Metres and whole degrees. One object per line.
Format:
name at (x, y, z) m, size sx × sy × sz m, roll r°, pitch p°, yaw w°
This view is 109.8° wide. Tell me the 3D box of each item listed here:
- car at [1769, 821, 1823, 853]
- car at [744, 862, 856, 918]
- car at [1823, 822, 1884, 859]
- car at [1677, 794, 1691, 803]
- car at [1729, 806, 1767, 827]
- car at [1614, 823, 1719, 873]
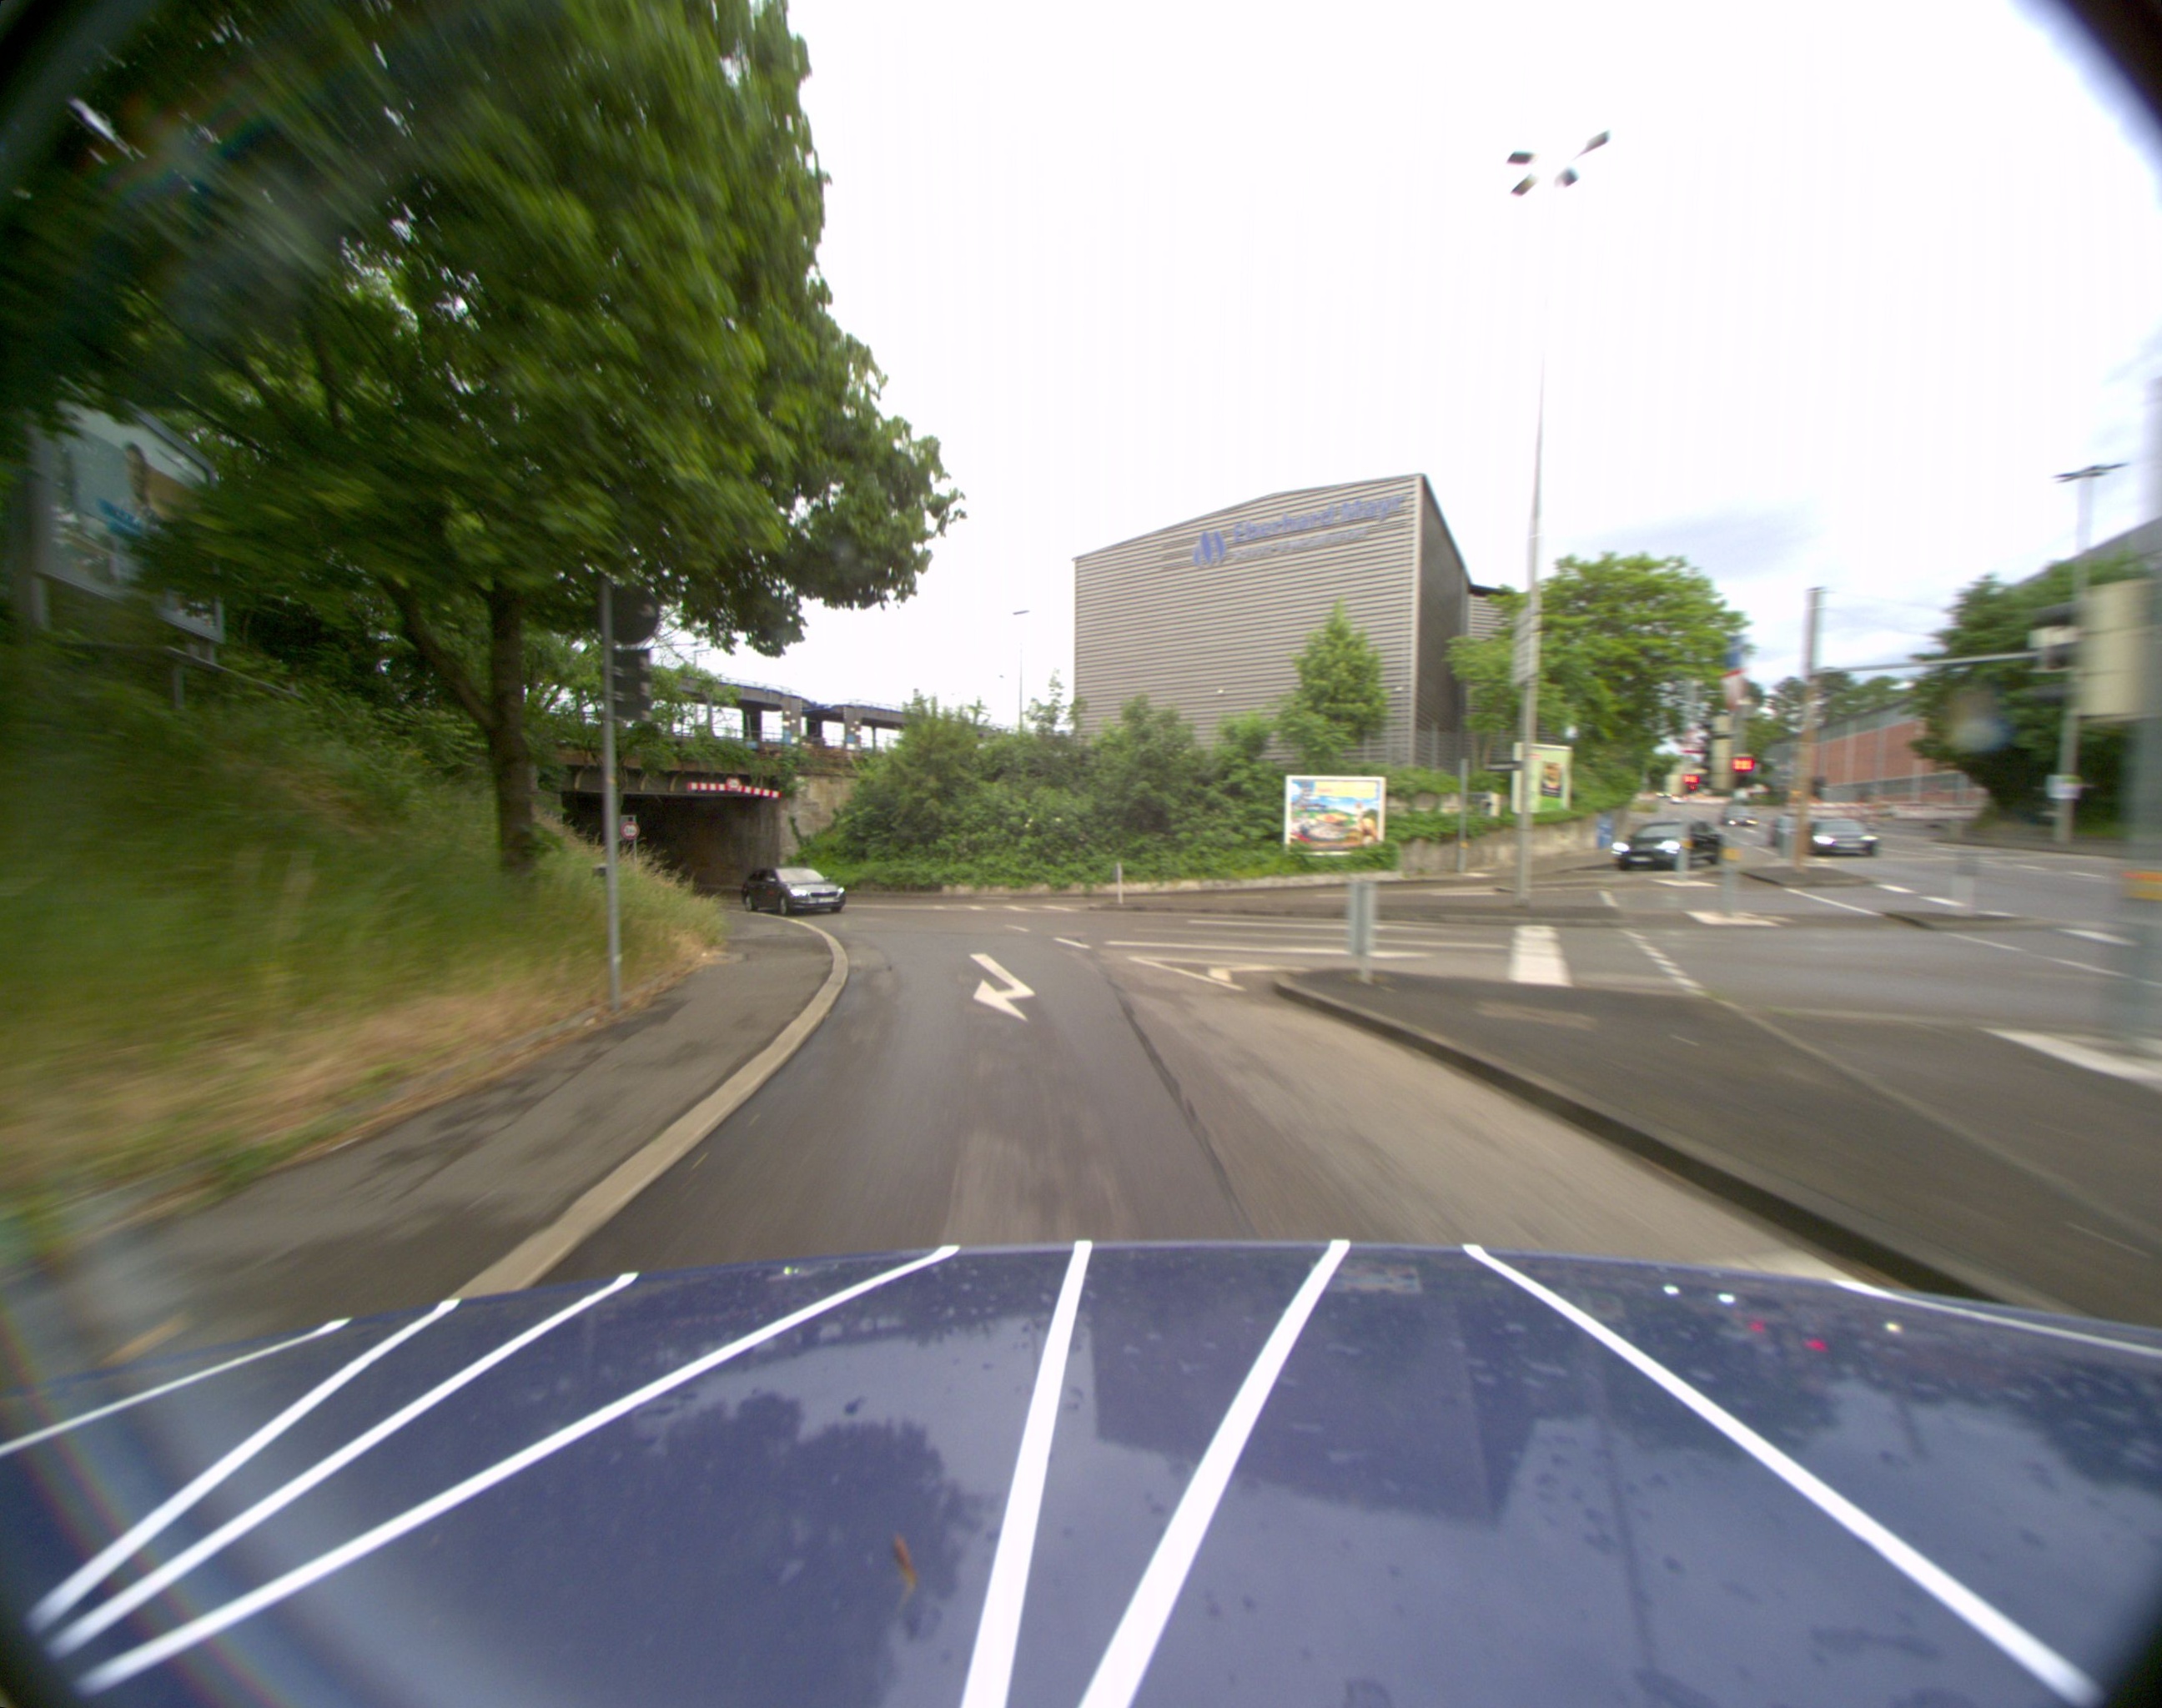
car at (34.215, -0.837, 36.323) m, size 3.763 × 1.362 × 1.749 m, roll -4°, pitch 2°, yaw -45°
car at (-8.773, 1.052, 23.554) m, size 1.815 × 1.509 × 4.041 m, roll -3°, pitch 1°, yaw -42°
car at (30.280, -0.549, 29.806) m, size 3.763 × 1.252 × 1.593 m, roll -4°, pitch 2°, yaw -45°
car at (94.457, -8.632, 119.065) m, size 1.529 × 1.308 × 3.236 m, roll 2°, pitch 4°, yaw 37°
car at (51.456, -2.866, 58.674) m, size 1.733 × 1.569 × 3.716 m, roll 2°, pitch 4°, yaw 35°
car at (20.958, -0.233, 27.148) m, size 4.218 × 1.535 × 1.948 m, roll -4°, pitch 2°, yaw -37°
